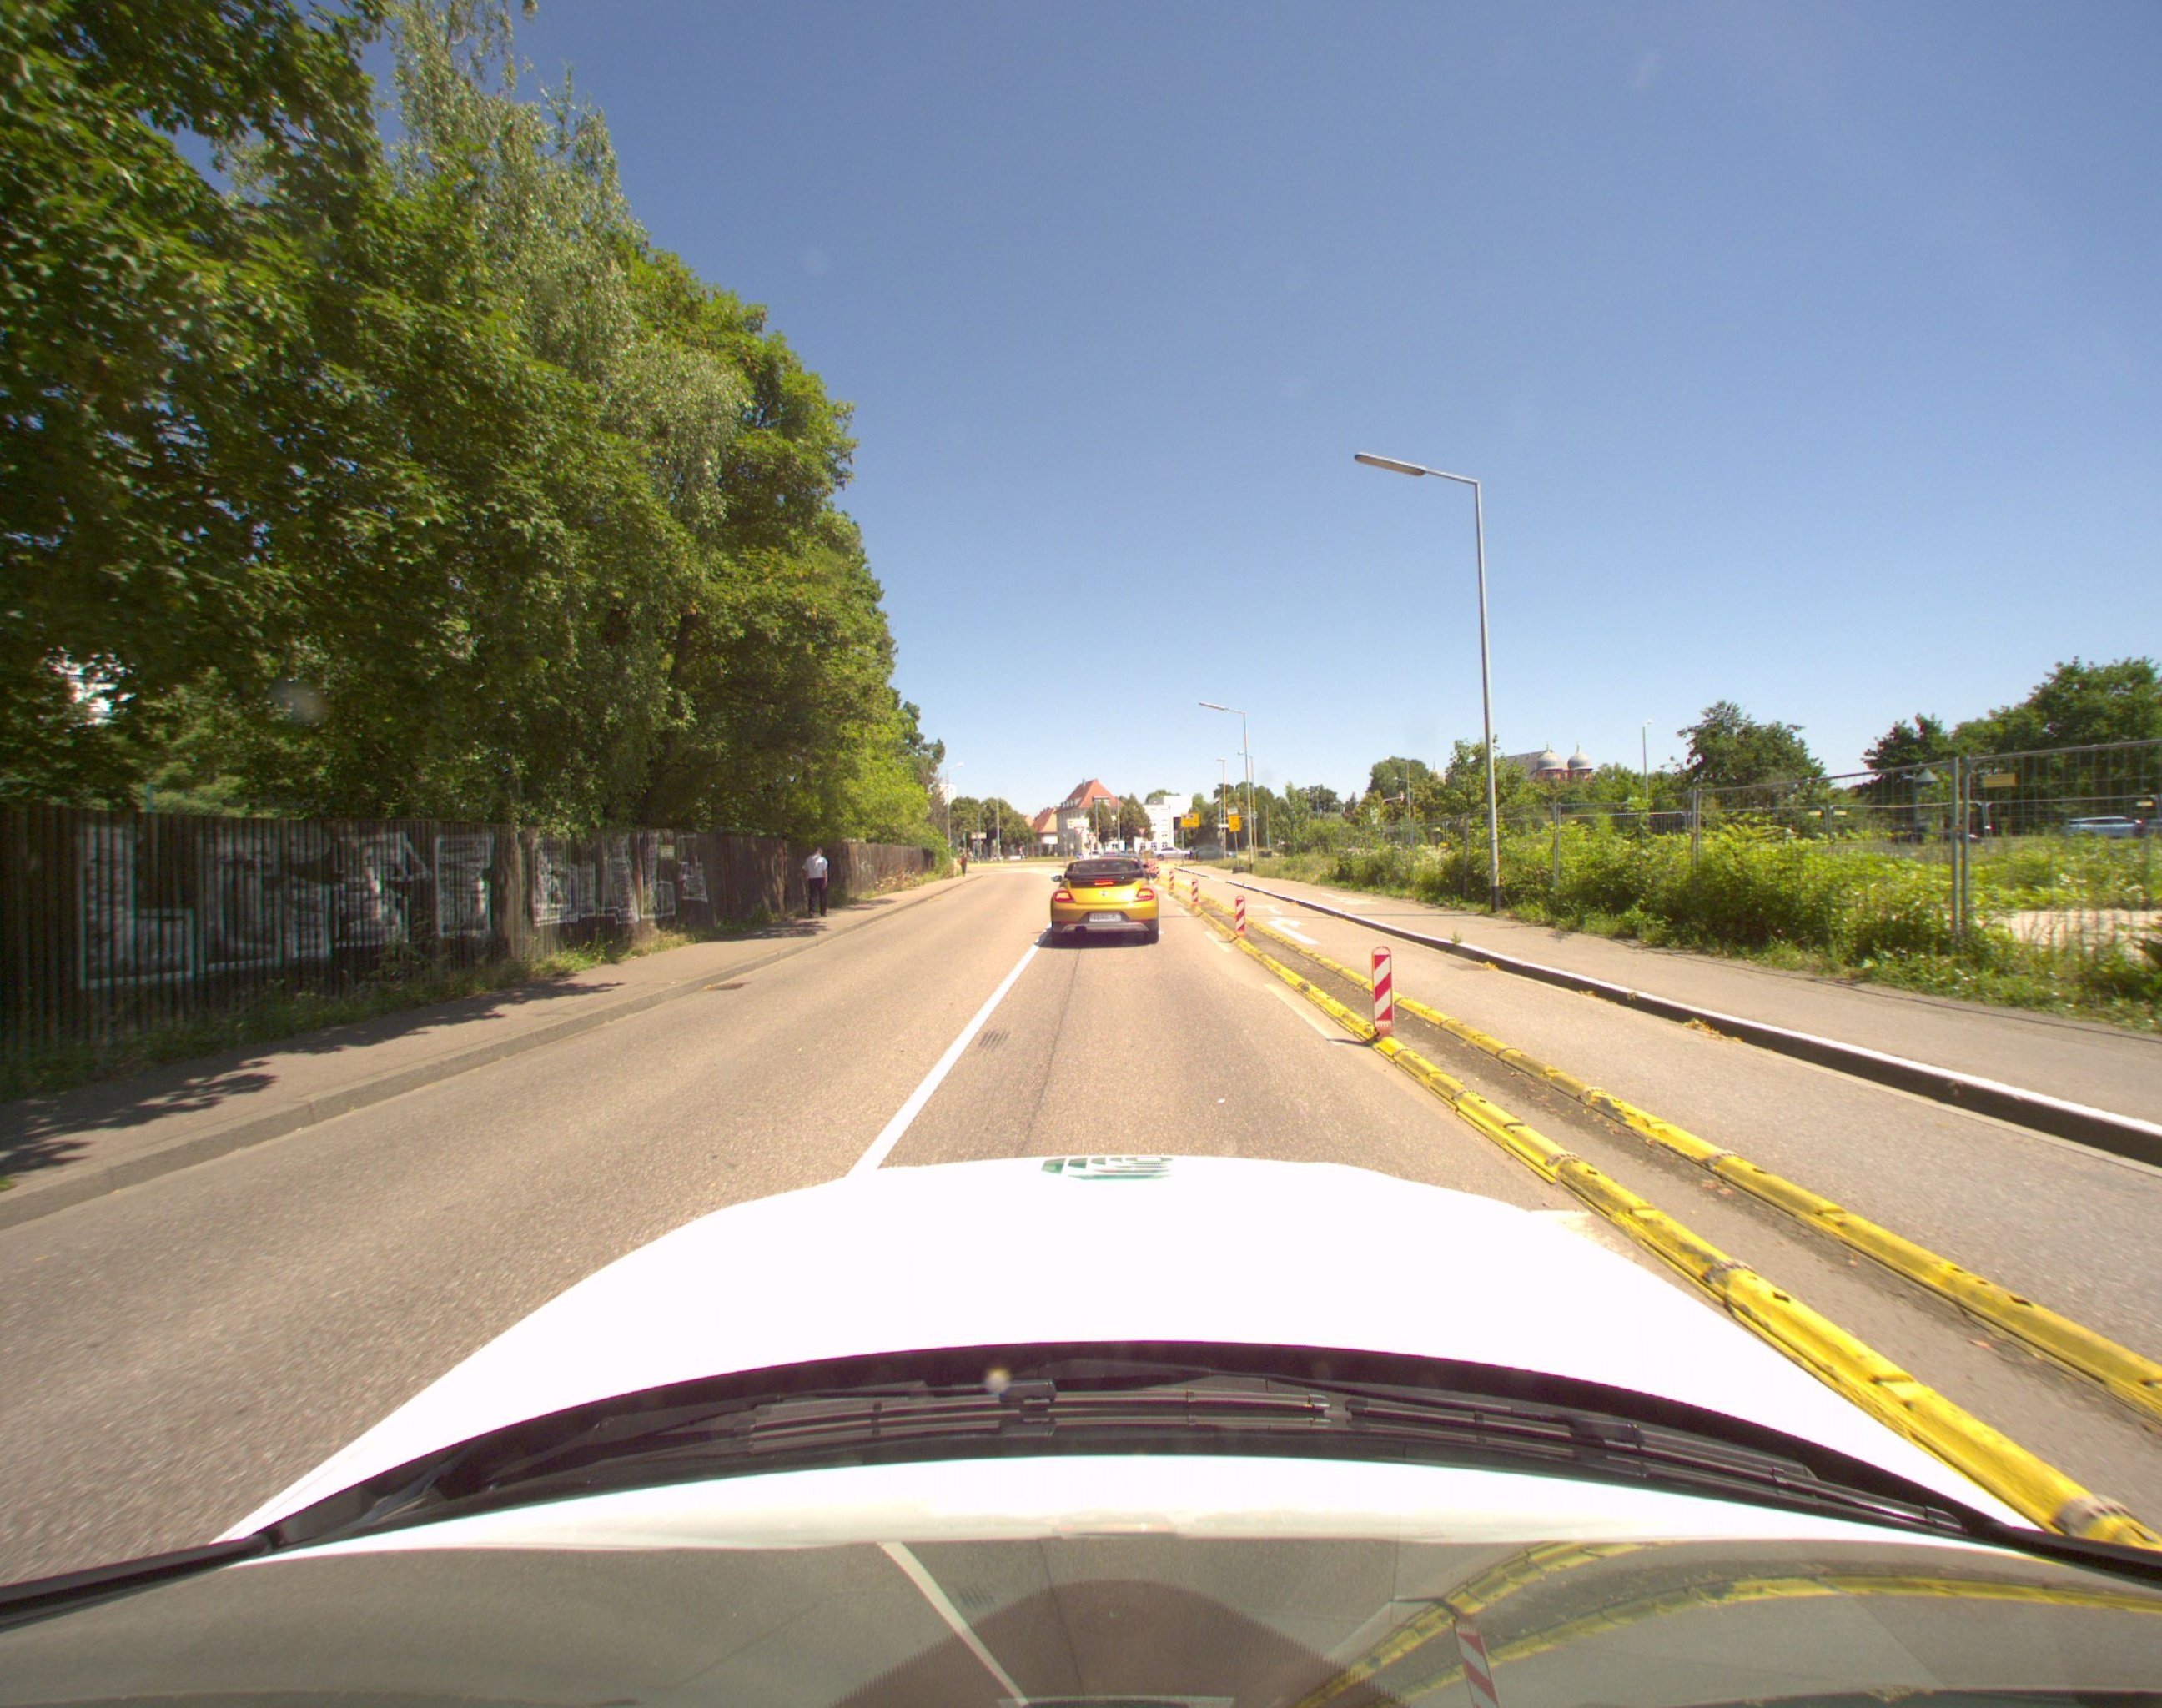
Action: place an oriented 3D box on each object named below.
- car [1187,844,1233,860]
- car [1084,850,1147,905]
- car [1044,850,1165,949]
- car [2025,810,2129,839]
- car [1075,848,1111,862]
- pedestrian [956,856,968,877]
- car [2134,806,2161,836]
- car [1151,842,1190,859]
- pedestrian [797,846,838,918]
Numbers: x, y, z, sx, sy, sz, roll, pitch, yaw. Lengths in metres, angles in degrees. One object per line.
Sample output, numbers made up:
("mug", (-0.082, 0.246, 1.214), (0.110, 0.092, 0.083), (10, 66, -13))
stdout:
("car", (12.744, -0.195, 80.314), (4.413, 1.358, 1.541), (-2, 0, 9))
("car", (1.052, 0.656, 24.802), (1.720, 1.443, 4.002), (-2, 0, 2))
("car", (0.380, 0.687, 14.381), (1.784, 1.436, 3.814), (-2, 0, 0))
("car", (61.896, -1.838, 50.731), (1.894, 1.585, 3.951), (-2, 0, -43))
("car", (1.231, 0.131, 82.158), (3.414, 1.275, 1.206), (-2, 0, 12))
("pedestrian", (-8.469, 0.858, 57.869), (0.721, 1.454, 0.817), (-2, 0, -2))
("car", (61.970, -1.918, 45.253), (1.852, 1.618, 4.010), (-3, 0, -42))
("car", (9.785, -0.397, 88.688), (4.047, 1.744, 1.571), (-2, 0, 10))
("pedestrian", (-6.605, 0.686, 20.444), (0.721, 1.725, 0.817), (-2, 0, -2))
